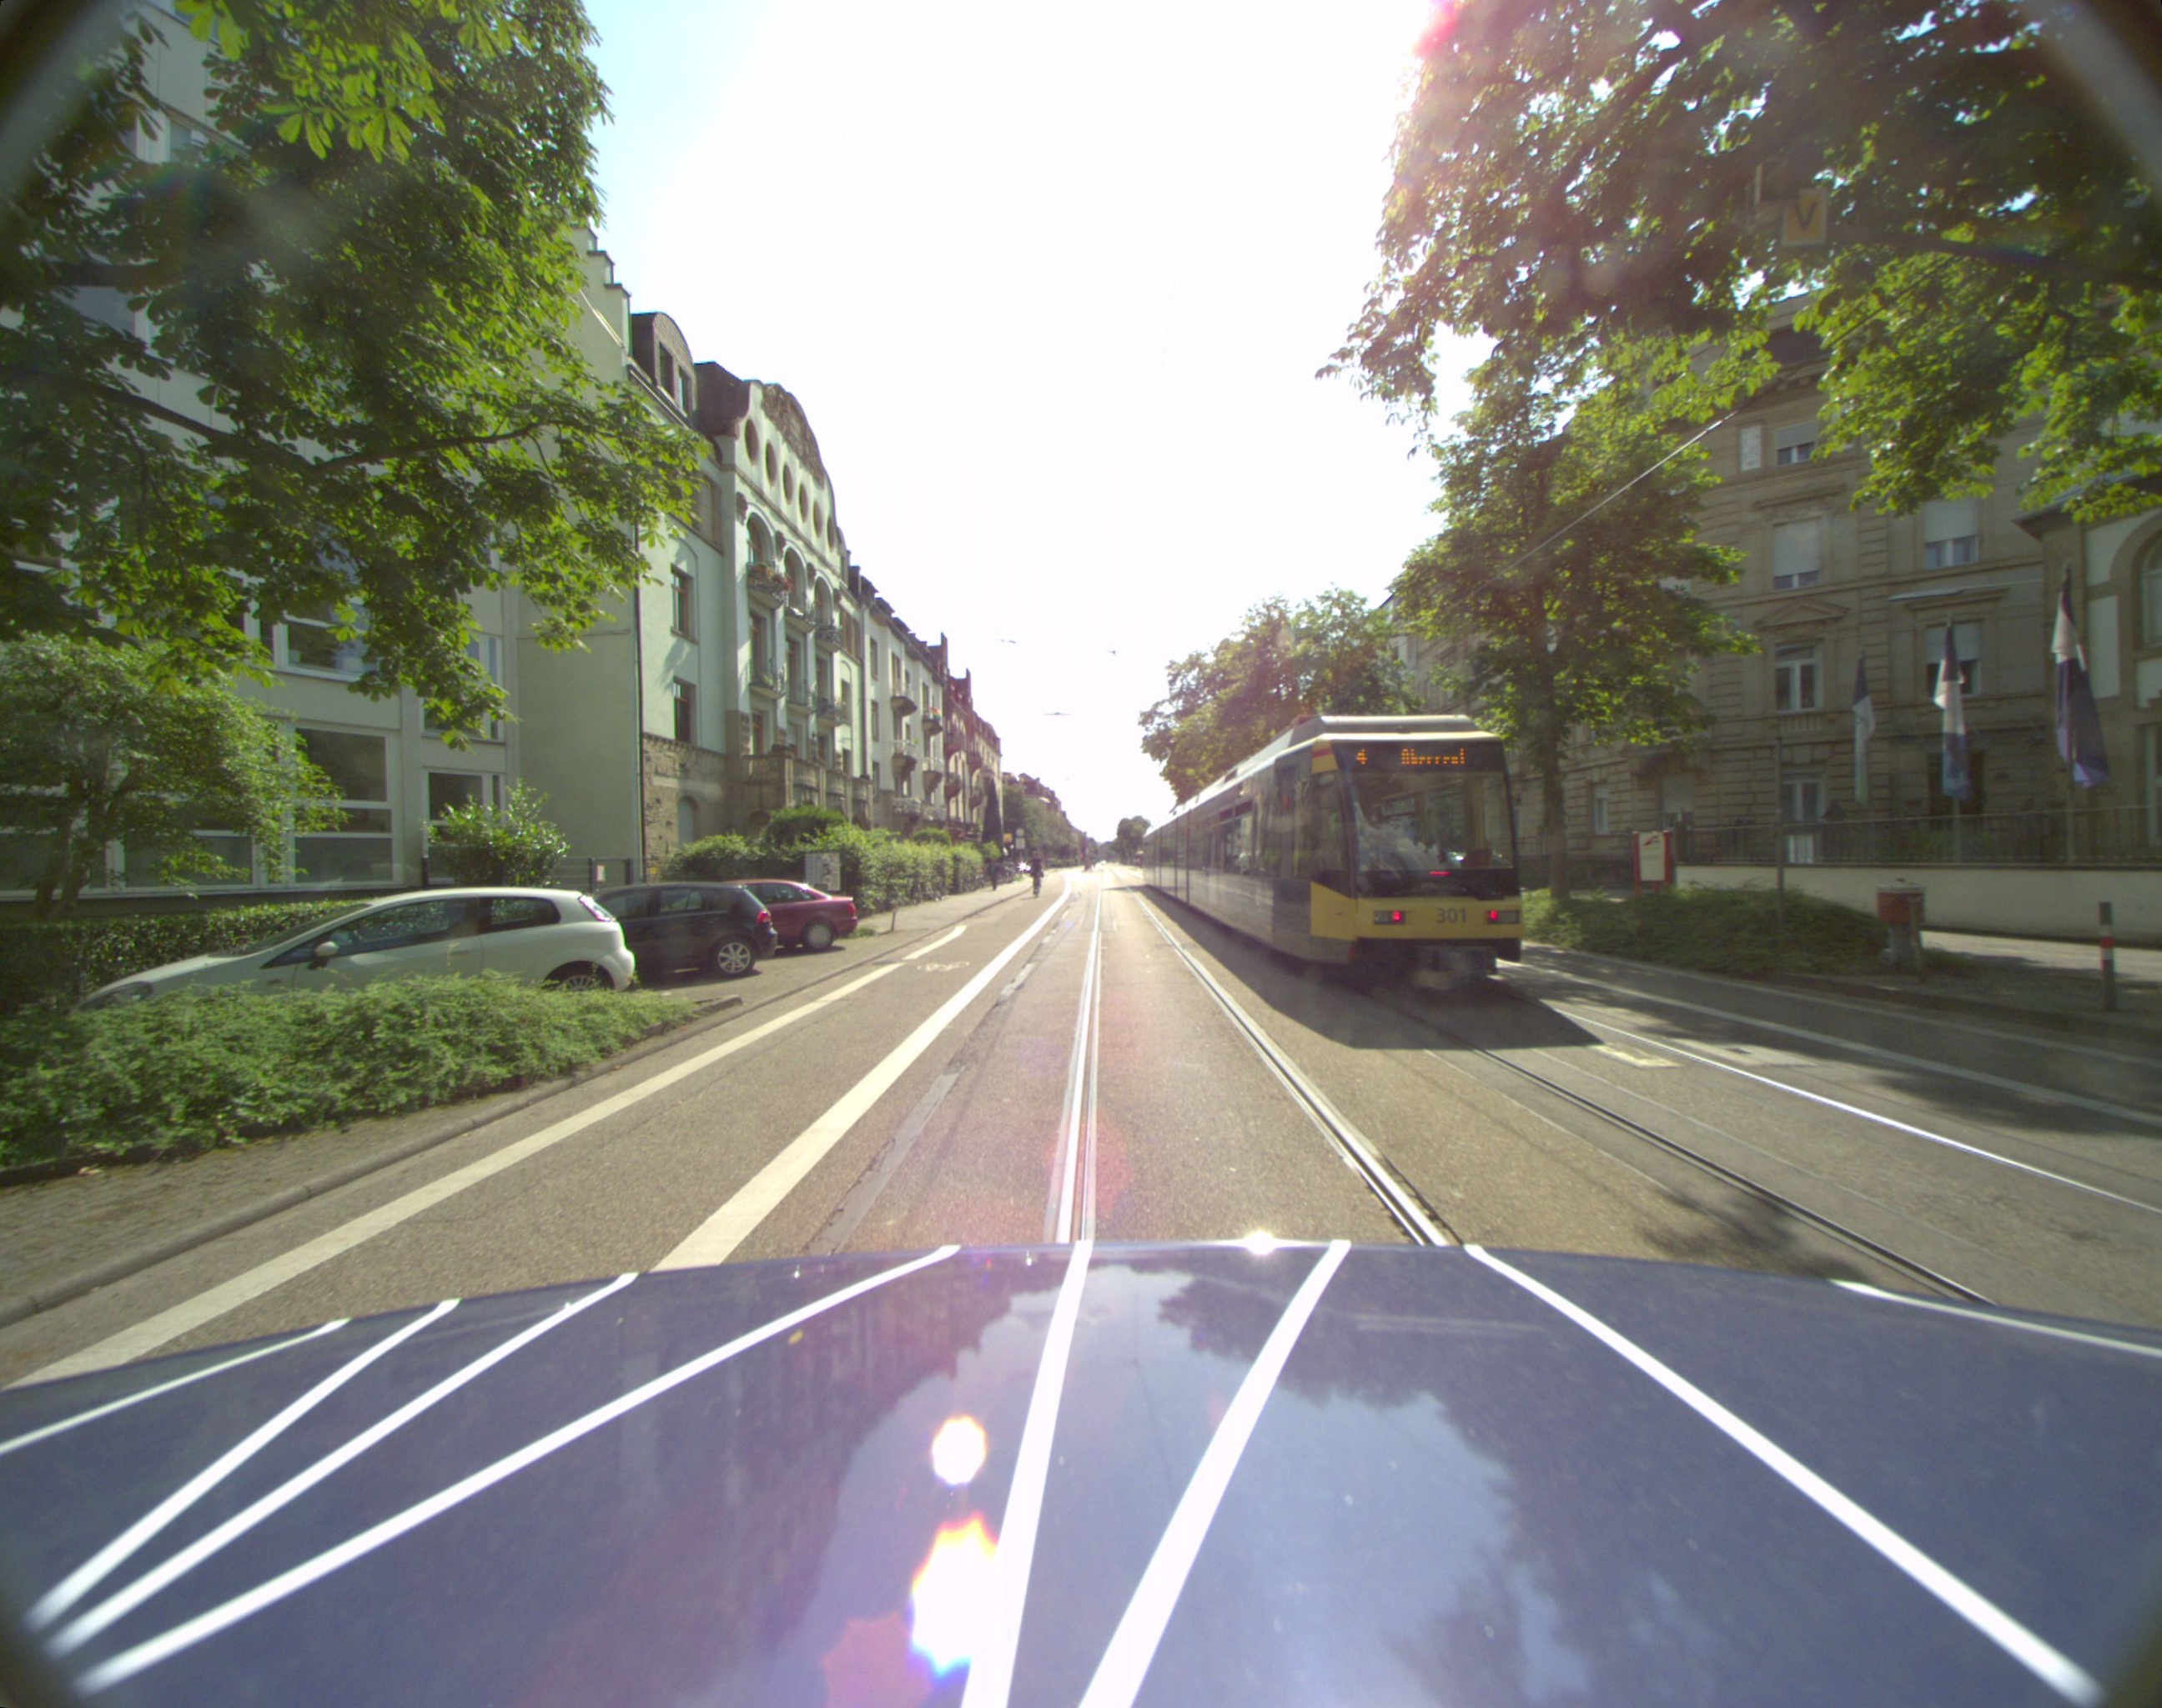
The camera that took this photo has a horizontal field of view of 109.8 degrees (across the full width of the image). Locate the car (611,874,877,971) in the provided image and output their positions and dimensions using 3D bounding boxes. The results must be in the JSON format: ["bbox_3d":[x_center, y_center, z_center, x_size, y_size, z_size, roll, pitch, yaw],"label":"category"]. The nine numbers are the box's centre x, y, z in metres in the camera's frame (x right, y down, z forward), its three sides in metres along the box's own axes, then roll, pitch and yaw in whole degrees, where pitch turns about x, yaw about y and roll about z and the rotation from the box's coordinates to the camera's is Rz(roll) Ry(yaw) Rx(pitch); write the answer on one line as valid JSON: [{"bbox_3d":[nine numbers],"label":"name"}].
[{"bbox_3d":[-6.185,1.149,14.217,4.168,1.415,1.861,-1,0,-41],"label":"car"}]

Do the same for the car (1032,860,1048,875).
[{"bbox_3d":[-4.463,1.459,82.969,1.517,1.490,2.794,2,0,-1],"label":"car"}]

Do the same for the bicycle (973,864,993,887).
[{"bbox_3d":[-5.412,1.168,42.181,0.742,1.224,2.516,-1,0,1],"label":"bicycle"}]

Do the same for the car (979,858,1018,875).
[{"bbox_3d":[-7.824,1.145,72.208,3.409,1.515,1.972,1,0,4],"label":"car"}]

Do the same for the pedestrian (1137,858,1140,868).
[{"bbox_3d":[10.020,1.520,132.127,0.498,1.660,0.678,2,1,-4],"label":"pedestrian"}]

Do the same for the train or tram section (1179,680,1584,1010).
[{"bbox_3d":[3.962,-0.131,14.824,2.659,3.336,14.109,1,0,2],"label":"train or tram section"}]

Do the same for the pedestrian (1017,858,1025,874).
[{"bbox_3d":[-6.870,1.386,87.113,0.661,1.831,0.873,7,0,-7],"label":"pedestrian"}]

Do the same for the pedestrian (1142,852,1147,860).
[{"bbox_3d":[10.900,0.272,130.480,0.605,1.329,0.406,2,1,-4],"label":"pedestrian"}]

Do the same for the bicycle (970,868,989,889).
[{"bbox_3d":[-5.158,1.228,38.705,0.612,0.990,2.362,2,0,1],"label":"bicycle"}]

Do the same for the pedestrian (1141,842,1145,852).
[{"bbox_3d":[10.315,-1.197,126.264,0.473,1.647,0.746,1,1,1],"label":"pedestrian"}]

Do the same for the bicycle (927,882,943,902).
[{"bbox_3d":[-5.636,1.453,29.400,0.280,0.673,1.559,2,0,2],"label":"bicycle"}]

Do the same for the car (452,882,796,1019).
[{"bbox_3d":[-6.493,1.229,11.051,4.008,1.440,1.695,-2,0,-41],"label":"car"}]

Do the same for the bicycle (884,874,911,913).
[{"bbox_3d":[-5.765,1.234,23.969,0.280,1.102,2.011,2,0,2],"label":"bicycle"}]

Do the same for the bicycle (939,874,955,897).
[{"bbox_3d":[-5.592,1.298,31.769,0.274,0.901,1.669,2,-1,2],"label":"bicycle"}]

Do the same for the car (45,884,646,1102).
[{"bbox_3d":[-6.864,1.127,7.668,4.008,1.452,1.531,-2,0,-44],"label":"car"}]

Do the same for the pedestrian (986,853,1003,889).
[{"bbox_3d":[-4.546,0.875,39.935,0.790,1.850,0.580,1,0,-6],"label":"pedestrian"}]

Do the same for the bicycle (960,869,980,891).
[{"bbox_3d":[-5.295,1.216,36.307,0.614,0.983,1.872,1,0,1],"label":"bicycle"}]

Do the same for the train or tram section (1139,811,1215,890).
[{"bbox_3d":[4.677,-0.198,39.379,2.659,3.416,12.315,1,0,2],"label":"train or tram section"}]

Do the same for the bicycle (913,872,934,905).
[{"bbox_3d":[-5.684,1.218,27.487,0.280,1.102,2.011,2,0,2],"label":"bicycle"}]

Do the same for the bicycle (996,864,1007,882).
[{"bbox_3d":[-5.077,1.232,48.669,0.452,1.116,1.844,1,0,2],"label":"bicycle"}]

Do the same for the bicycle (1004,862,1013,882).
[{"bbox_3d":[-4.791,1.177,50.314,0.452,1.253,1.844,1,0,-1],"label":"bicycle"}]

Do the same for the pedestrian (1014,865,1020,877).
[{"bbox_3d":[-7.328,1.942,87.044,0.571,1.318,0.442,4,0,-7],"label":"pedestrian"}]

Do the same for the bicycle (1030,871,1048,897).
[{"bbox_3d":[-1.882,1.342,33.992,0.617,1.039,1.836,2,1,1],"label":"bicycle"}]

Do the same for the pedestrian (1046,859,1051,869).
[{"bbox_3d":[-5.794,1.794,135.760,0.707,1.644,0.534,-3,1,1],"label":"pedestrian"}]

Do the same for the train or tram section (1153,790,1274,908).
[{"bbox_3d":[4.341,-0.168,27.571,2.659,3.369,11.473,1,0,2],"label":"train or tram section"}]

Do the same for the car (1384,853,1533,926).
[{"bbox_3d":[9.818,0.847,20.182,1.811,1.631,4.332,-3,0,1],"label":"car"}]

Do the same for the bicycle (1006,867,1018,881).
[{"bbox_3d":[-4.959,1.421,54.894,0.600,0.955,3.066,3,0,-1],"label":"bicycle"}]

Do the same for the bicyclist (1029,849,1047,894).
[{"bbox_3d":[-1.901,0.772,33.909,0.608,1.937,1.130,-3,1,1],"label":"bicyclist"}]
